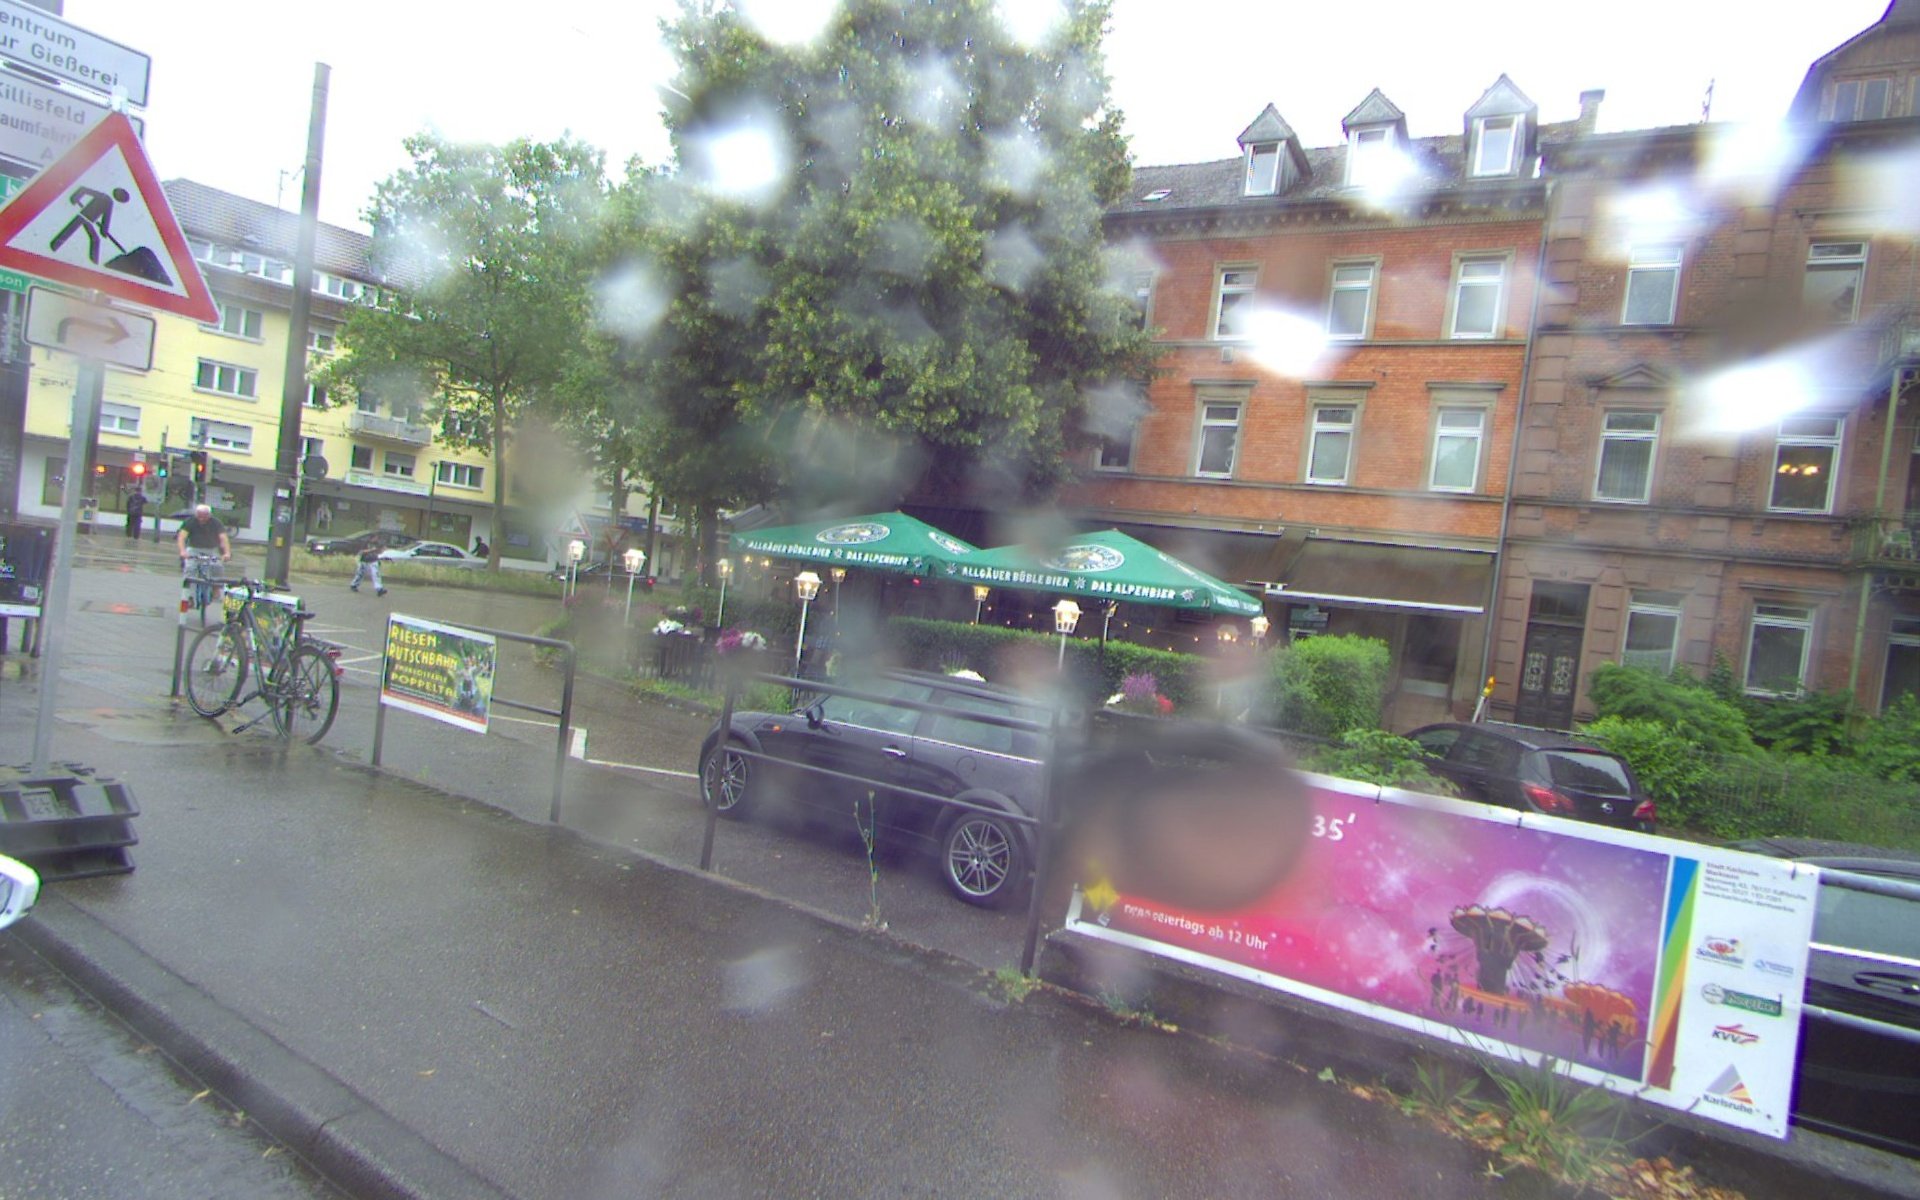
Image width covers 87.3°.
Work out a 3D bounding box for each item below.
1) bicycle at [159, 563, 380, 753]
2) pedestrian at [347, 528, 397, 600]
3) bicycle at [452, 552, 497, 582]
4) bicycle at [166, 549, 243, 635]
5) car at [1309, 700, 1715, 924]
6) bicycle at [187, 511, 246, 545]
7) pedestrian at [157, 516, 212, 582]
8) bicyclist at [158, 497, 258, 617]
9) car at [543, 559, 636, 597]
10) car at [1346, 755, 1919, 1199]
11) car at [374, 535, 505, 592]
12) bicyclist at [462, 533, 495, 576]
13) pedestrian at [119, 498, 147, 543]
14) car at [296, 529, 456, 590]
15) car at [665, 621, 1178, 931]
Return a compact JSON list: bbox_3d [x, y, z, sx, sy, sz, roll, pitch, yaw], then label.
[{"bbox_3d":[-5.181,0.400,7.502,1.984,1.119,0.515,7,-3,33],"label":"bicycle"},{"bbox_3d":[-15.046,-0.914,25.727,0.898,1.689,1.011,7,-1,-32],"label":"pedestrian"},{"bbox_3d":[-20.080,-1.341,41.639,0.415,1.013,1.640,7,-1,32],"label":"bicycle"},{"bbox_3d":[-11.064,-0.135,14.707,1.875,1.040,0.458,8,1,42],"label":"bicycle"},{"bbox_3d":[6.358,2.385,12.200,1.969,1.733,3.990,8,-1,-14],"label":"car"},{"bbox_3d":[-35.607,-3.437,48.200,2.096,1.277,0.525,8,0,-44],"label":"bicycle"},{"bbox_3d":[-19.672,-1.275,25.531,0.612,1.552,0.816,7,0,-6],"label":"pedestrian"},{"bbox_3d":[-10.967,-0.629,14.670,0.848,1.602,0.877,7,-1,42],"label":"bicyclist"},{"bbox_3d":[-15.516,-0.910,42.278,1.227,1.095,3.531,7,-2,34],"label":"car"},{"bbox_3d":[4.189,1.852,4.964,3.907,1.416,1.706,7,-1,32],"label":"car"},{"bbox_3d":[-19.401,-1.335,37.567,3.926,1.508,1.784,8,0,-43],"label":"car"},{"bbox_3d":[-19.976,-1.870,41.712,0.699,1.634,0.815,7,0,33],"label":"bicyclist"},{"bbox_3d":[-29.509,-2.844,35.904,0.618,1.518,0.546,7,0,-42],"label":"pedestrian"},{"bbox_3d":[-22.449,-1.524,38.827,1.975,1.661,4.928,3,-4,43],"label":"car"},{"bbox_3d":[-0.356,1.211,7.805,3.468,1.457,1.710,8,-3,34],"label":"car"}]
